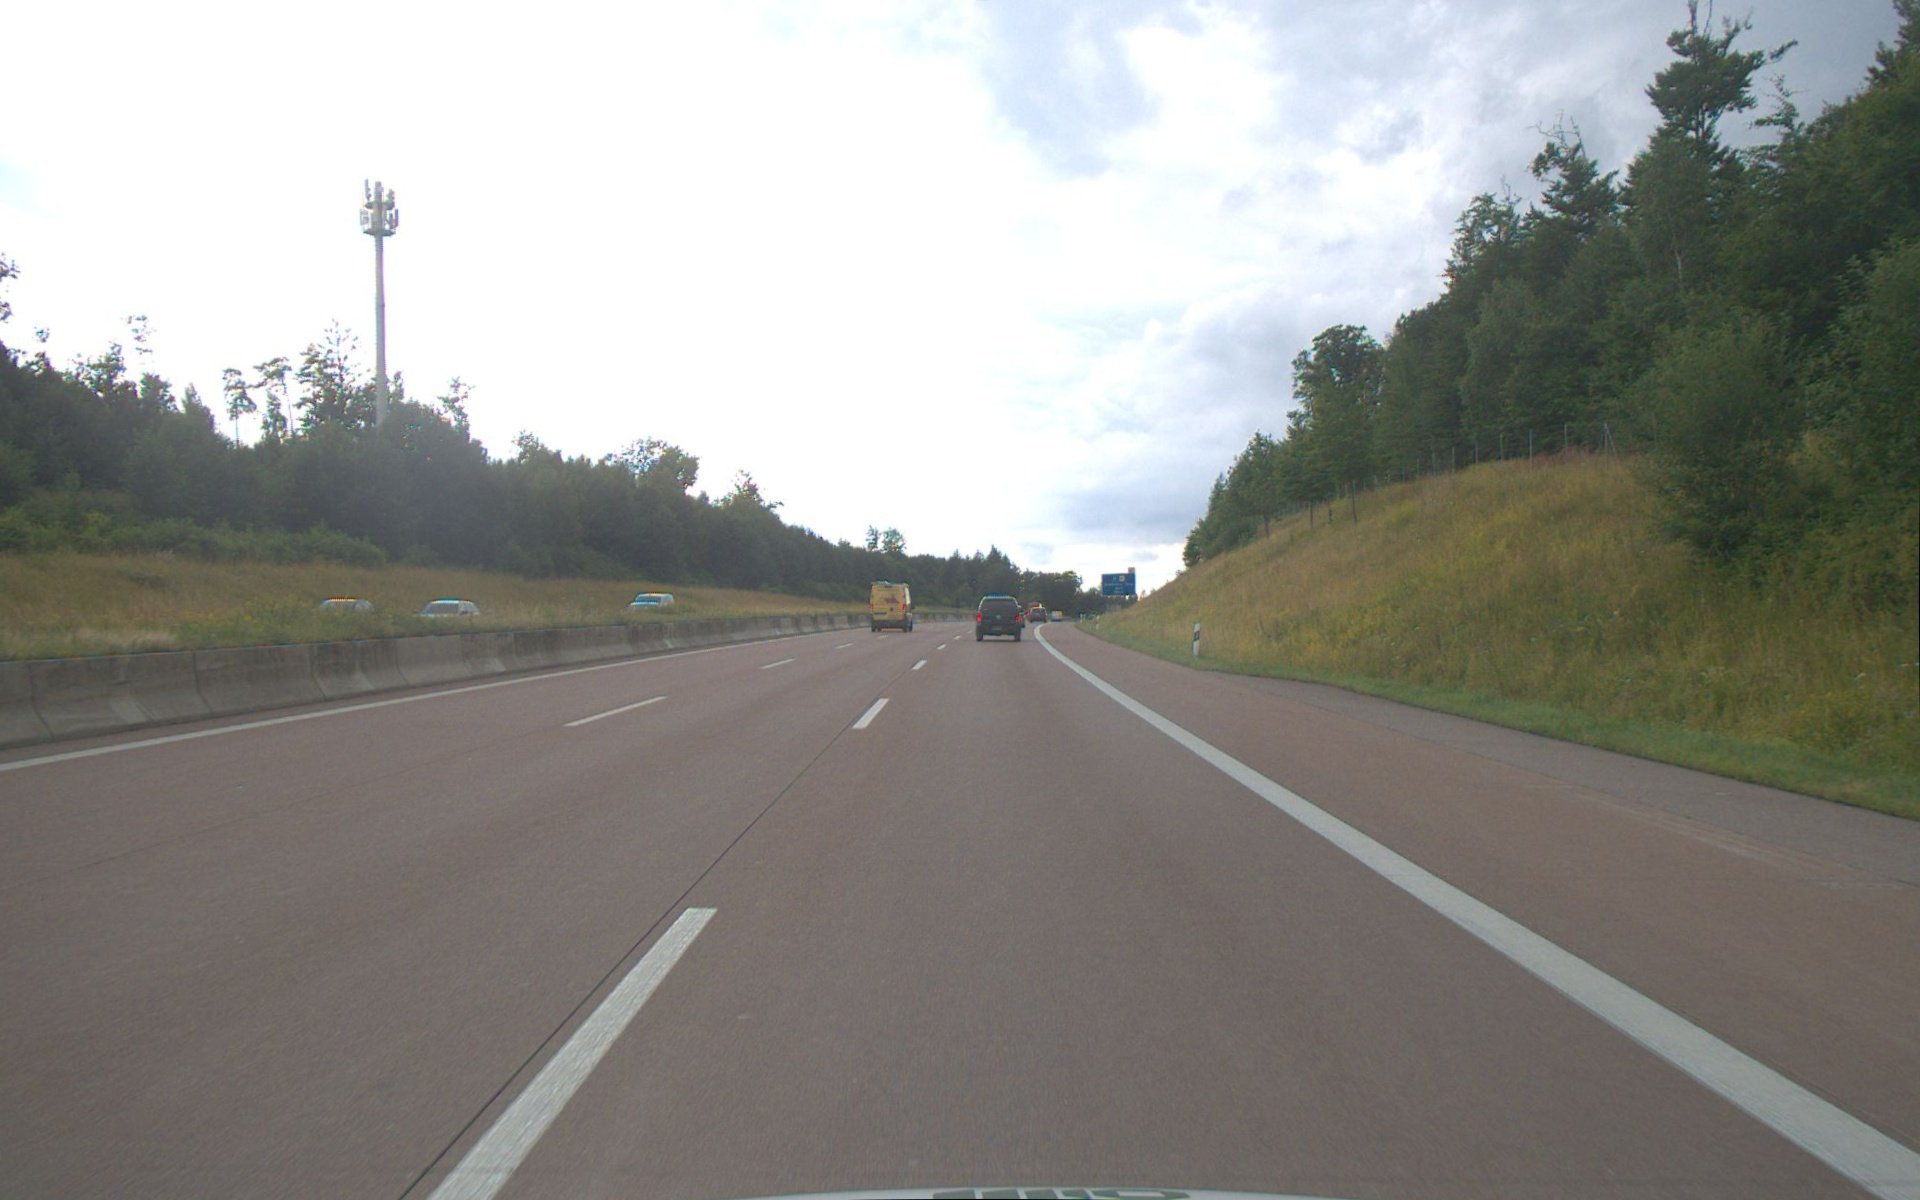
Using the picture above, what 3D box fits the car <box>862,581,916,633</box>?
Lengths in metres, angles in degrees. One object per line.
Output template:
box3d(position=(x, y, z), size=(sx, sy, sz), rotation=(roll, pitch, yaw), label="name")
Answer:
box3d(position=(-3.929, 0.413, 92.439), size=(2.407, 2.754, 5.615), rotation=(-1, -2, 3), label="car")

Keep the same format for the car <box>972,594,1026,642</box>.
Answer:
box3d(position=(1.601, 0.810, 69.892), size=(2.003, 1.930, 5.575), rotation=(0, -2, -1), label="car")

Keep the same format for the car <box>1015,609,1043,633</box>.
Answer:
box3d(position=(4.946, 1.559, 119.414), size=(1.936, 1.677, 4.620), rotation=(1, -1, 2), label="car")

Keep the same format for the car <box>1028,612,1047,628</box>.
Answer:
box3d(position=(8.429, 2.186, 180.629), size=(1.936, 1.677, 4.621), rotation=(-1, -2, 4), label="car")
